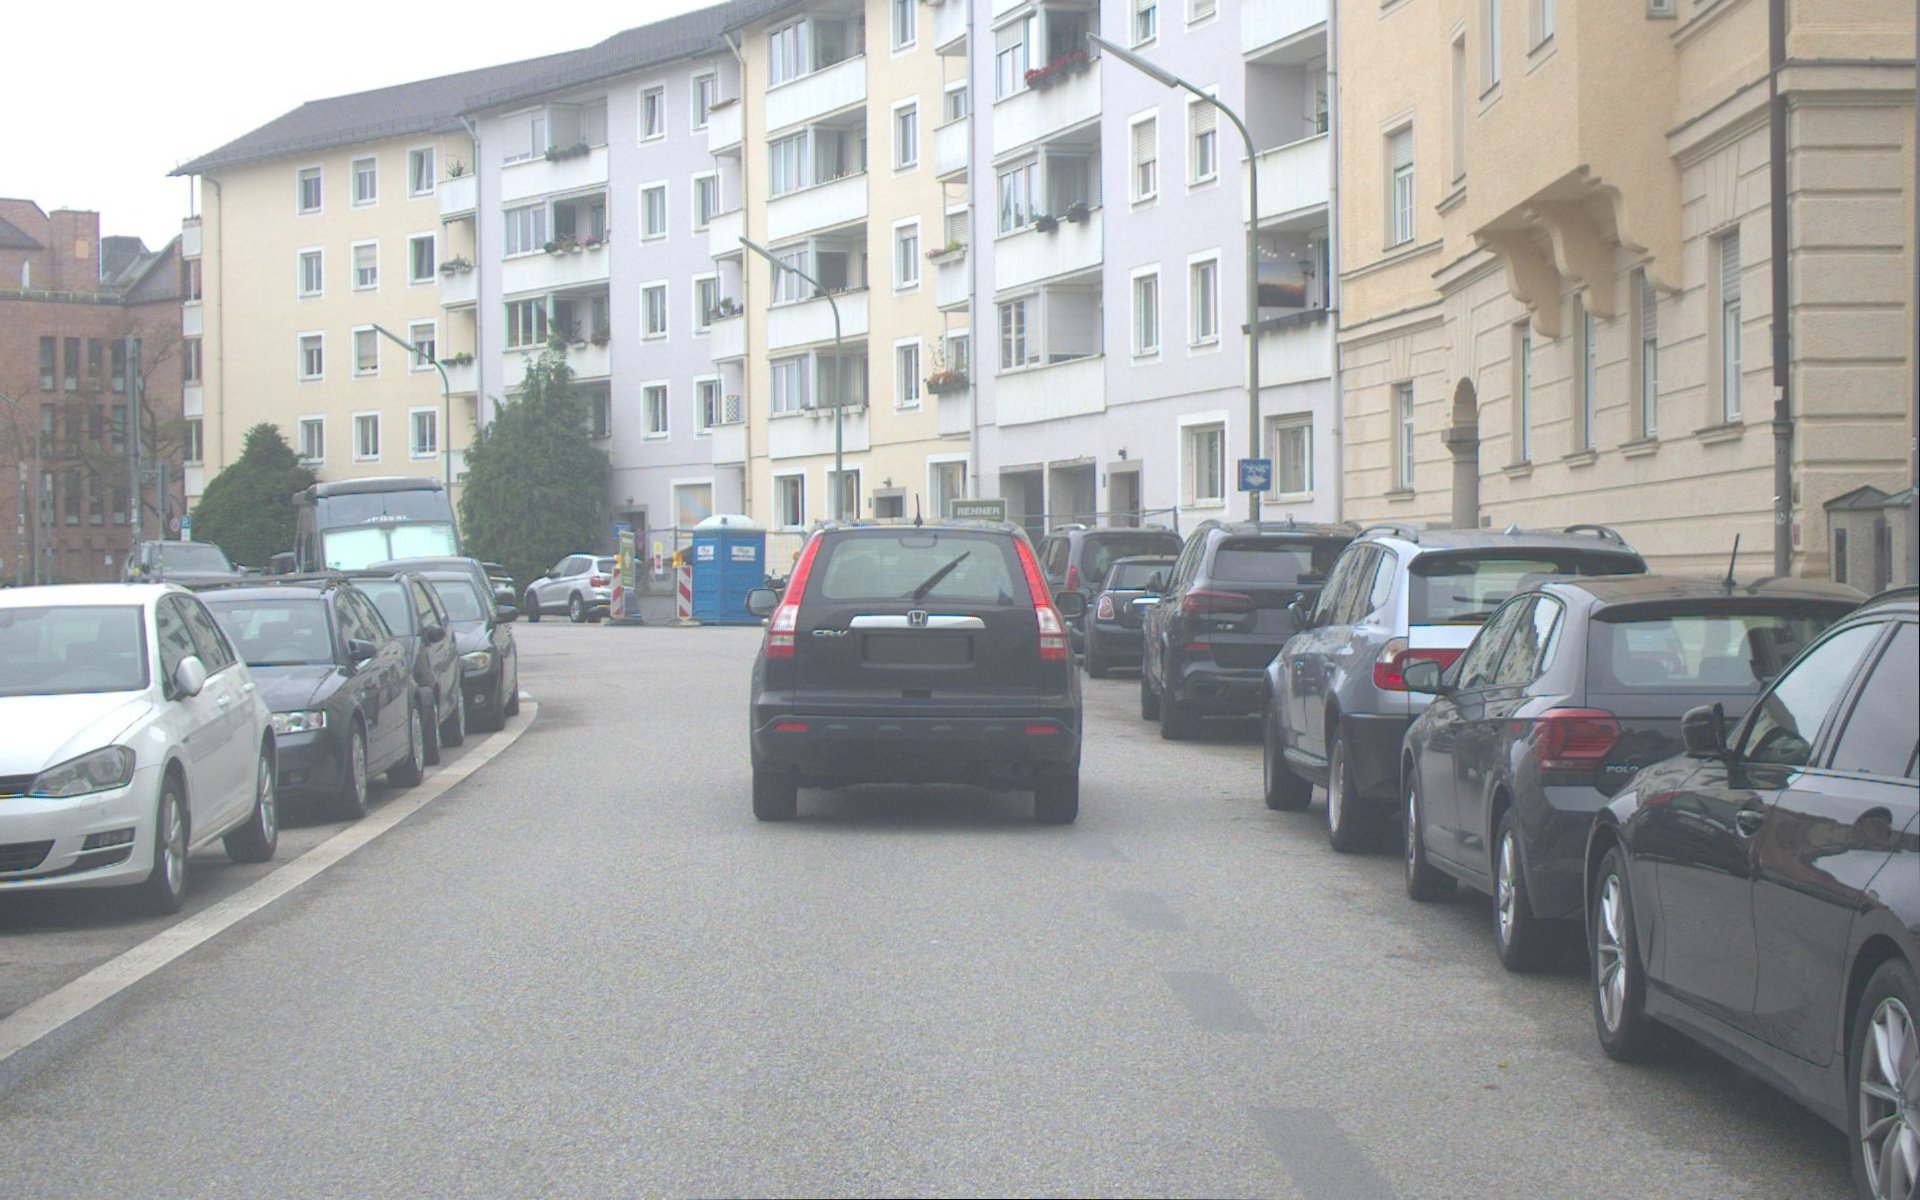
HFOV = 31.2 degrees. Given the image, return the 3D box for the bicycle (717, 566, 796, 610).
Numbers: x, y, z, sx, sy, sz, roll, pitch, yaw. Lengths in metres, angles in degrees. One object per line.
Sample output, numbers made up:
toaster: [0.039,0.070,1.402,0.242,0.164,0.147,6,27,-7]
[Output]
bicycle: [-5.054,-0.298,85.369,1.865,1.087,0.566,0,1,-22]

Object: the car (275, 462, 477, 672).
car: [-8.067,-0.484,47.038,2.163,2.632,6.019,-2,1,-14]

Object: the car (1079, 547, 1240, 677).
car: [2.326,0.114,40.925,1.708,1.442,3.830,1,1,1]

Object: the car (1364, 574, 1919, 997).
car: [2.737,0.617,13.777,1.679,1.422,4.087,0,1,-1]

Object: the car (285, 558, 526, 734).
car: [-4.927,0.359,31.048,1.799,1.401,4.456,-2,1,-5]

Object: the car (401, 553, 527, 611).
car: [-13.182,-0.482,91.305,1.724,1.478,4.000,0,1,-34]

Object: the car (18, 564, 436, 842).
car: [-4.376,0.543,21.162,1.755,1.448,4.396,-2,1,-2]

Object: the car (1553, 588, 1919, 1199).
car: [2.756,0.701,8.491,1.679,1.422,4.391,0,1,-2]

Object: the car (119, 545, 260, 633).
car: [-15.544,-0.236,69.188,1.679,1.701,4.514,0,1,-27]

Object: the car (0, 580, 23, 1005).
car: [-4.025,0.713,10.042,1.656,1.448,3.975,-2,1,-3]

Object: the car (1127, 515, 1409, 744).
car: [2.472,0.198,28.728,1.869,1.711,4.865,1,1,0]

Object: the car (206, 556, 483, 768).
car: [-4.623,0.420,26.220,1.656,1.448,3.313,-2,1,-3]

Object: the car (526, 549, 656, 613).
car: [-8.872,-0.472,82.451,1.724,1.478,4.001,0,1,-28]

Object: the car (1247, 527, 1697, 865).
car: [2.657,0.437,18.813,1.722,1.628,4.458,0,1,-1]

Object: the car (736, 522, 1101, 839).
car: [-0.343,0.394,19.882,1.890,1.642,3.992,0,1,-4]

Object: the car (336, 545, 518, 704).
car: [-5.425,0.218,35.251,1.670,1.497,2.978,-2,1,-6]

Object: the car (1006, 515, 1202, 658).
car: [1.866,-0.200,45.955,1.777,1.800,4.277,1,1,-9]

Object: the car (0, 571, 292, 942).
car: [-4.224,0.635,15.917,1.656,1.448,4.074,-2,1,-3]
